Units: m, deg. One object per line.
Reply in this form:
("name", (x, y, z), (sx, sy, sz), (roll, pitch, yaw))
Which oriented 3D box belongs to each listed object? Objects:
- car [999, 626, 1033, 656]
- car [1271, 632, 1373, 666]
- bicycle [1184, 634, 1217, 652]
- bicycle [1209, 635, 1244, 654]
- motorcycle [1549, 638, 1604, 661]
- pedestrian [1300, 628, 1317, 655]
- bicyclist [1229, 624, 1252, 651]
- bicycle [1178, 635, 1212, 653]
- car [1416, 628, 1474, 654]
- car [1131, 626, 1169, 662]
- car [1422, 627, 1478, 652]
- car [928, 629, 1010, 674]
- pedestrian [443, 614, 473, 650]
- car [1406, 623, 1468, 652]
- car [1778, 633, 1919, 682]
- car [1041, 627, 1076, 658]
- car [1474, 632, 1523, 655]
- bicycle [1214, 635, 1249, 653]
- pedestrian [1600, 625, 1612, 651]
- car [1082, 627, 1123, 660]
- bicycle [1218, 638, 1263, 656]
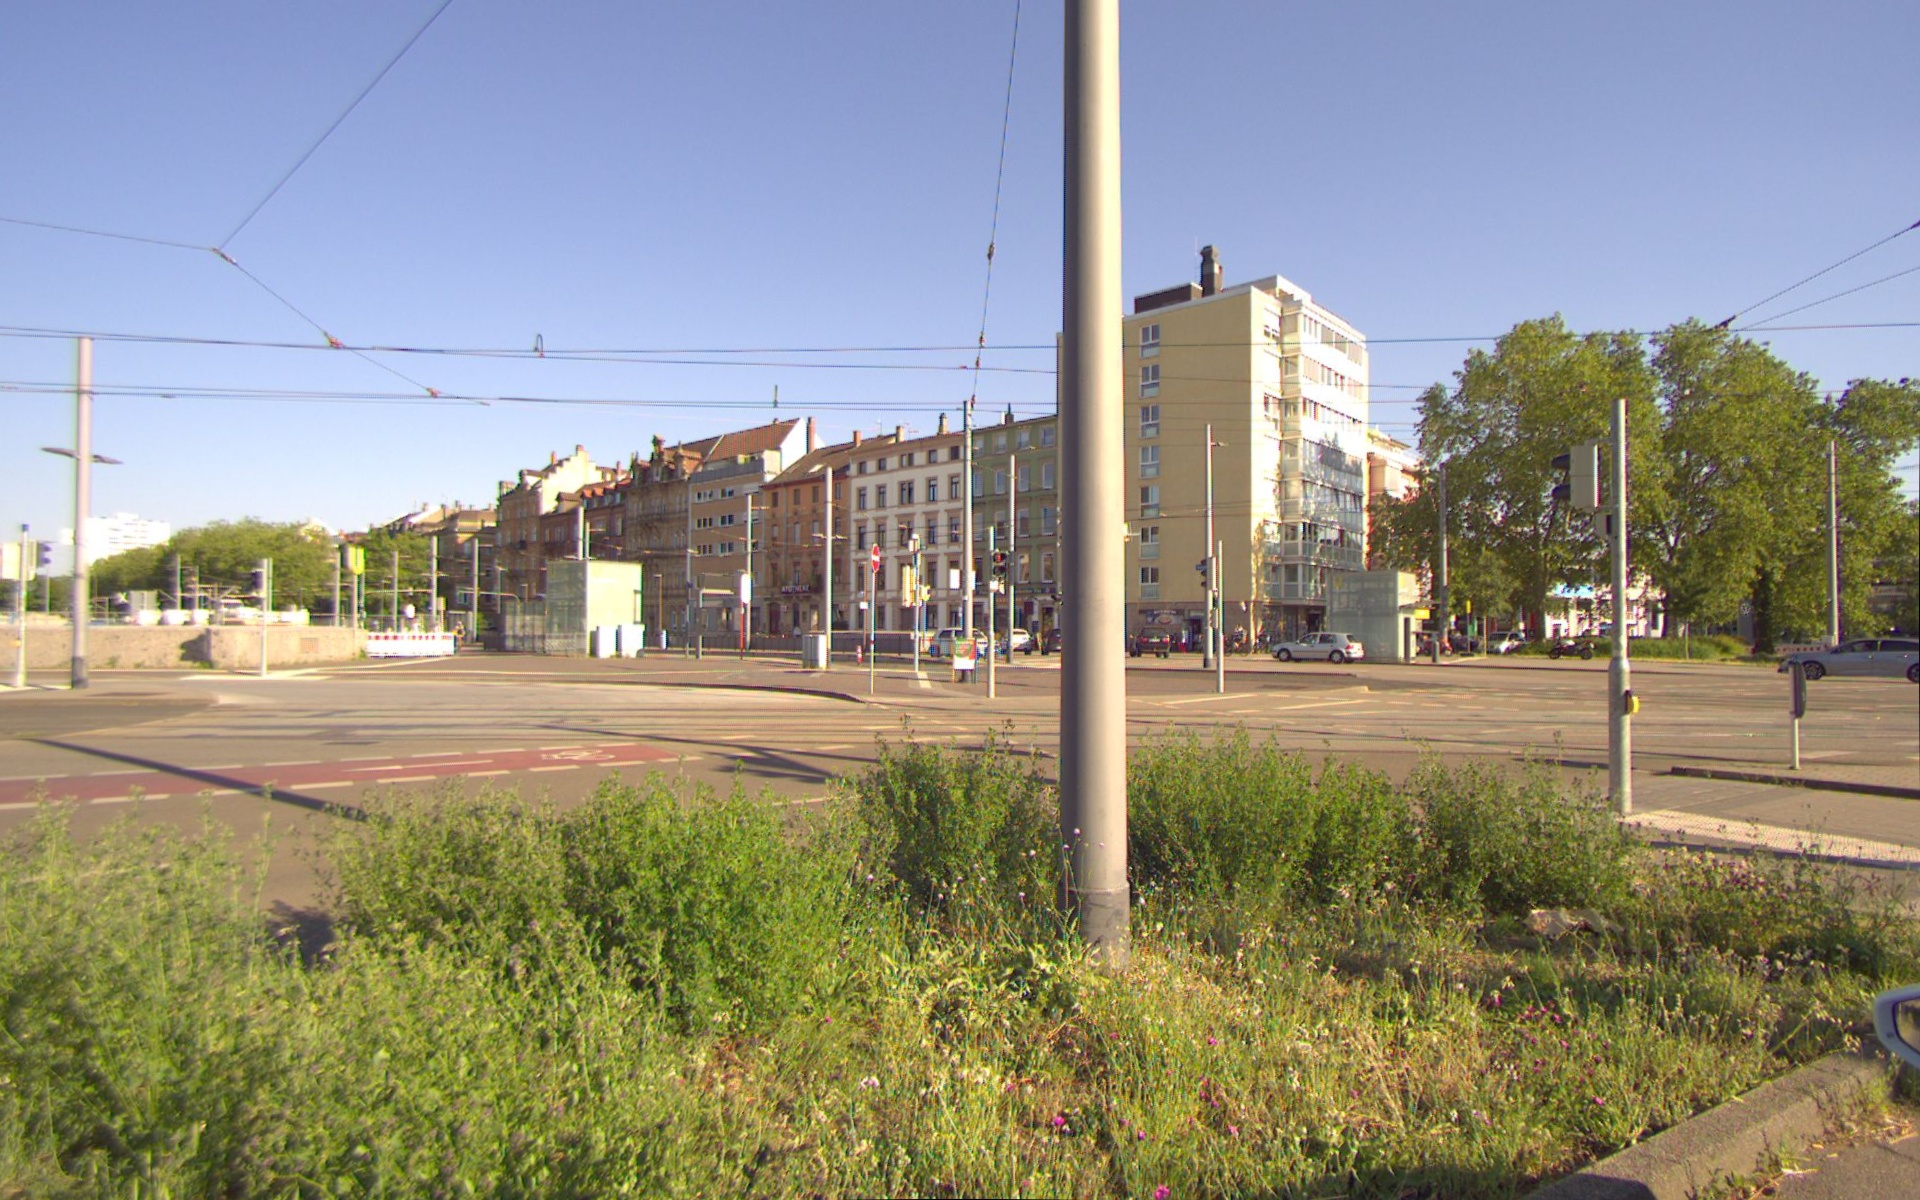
("car", (3.560, 2.605, 64.398), (2.045, 1.742, 4.010), (-1, 0, 1))
("car", (16.664, 2.236, 46.341), (4.049, 1.471, 1.943), (-1, -2, 42))
("bicycle", (15.651, 2.802, 65.371), (2.019, 1.104, 0.773), (-1, -2, 42))
("bicycle", (16.767, 2.794, 63.225), (2.019, 1.104, 0.773), (-1, -2, 42))
("motorcycle", (30.809, 2.460, 50.236), (0.682, 1.068, 2.263), (-1, 0, -42))
("pedestrian", (21.811, 2.594, 62.890), (0.767, 1.698, 0.778), (-1, -2, 43))
("bicyclist", (16.473, 2.211, 58.978), (0.914, 1.580, 0.957), (-1, -2, 45))
("bicycle", (15.150, 2.808, 64.654), (2.019, 1.104, 0.773), (-1, -2, 42))
("car", (36.676, 3.081, 76.070), (3.925, 1.882, 1.851), (0, 0, 26))
("car", (10.898, 2.516, 57.886), (1.815, 1.882, 4.002), (-1, 0, 6))
("car", (39.013, 3.129, 80.073), (3.925, 1.882, 1.851), (0, 0, 26))
("car", (0.425, 2.501, 49.619), (3.691, 2.040, 1.990), (0, 0, 41))
("pedestrian", (-29.555, 1.855, 59.153), (1.361, 2.040, 1.503), (-1, 0, -34))
("car", (33.726, 2.640, 71.097), (3.925, 2.040, 1.998), (0, -2, 26))
("car", (30.334, 1.899, 33.677), (4.489, 1.537, 1.945), (-1, -2, 39))
("car", (6.038, 2.583, 61.887), (1.803, 1.742, 4.000), (-1, 0, 1))
("car", (35.558, 2.840, 66.274), (1.827, 1.471, 3.976), (0, -2, 44))
("bicycle", (17.279, 2.788, 63.899), (2.019, 1.104, 0.773), (-1, -2, 42))
("pedestrian", (52.272, 3.063, 81.281), (0.702, 2.040, 0.586), (1, -1, -30))
("car", (8.413, 2.547, 59.736), (1.803, 1.771, 3.999), (-1, 0, -1))
("bicycle", (16.451, 2.752, 58.993), (0.957, 1.016, 2.414), (2, -2, -45))
